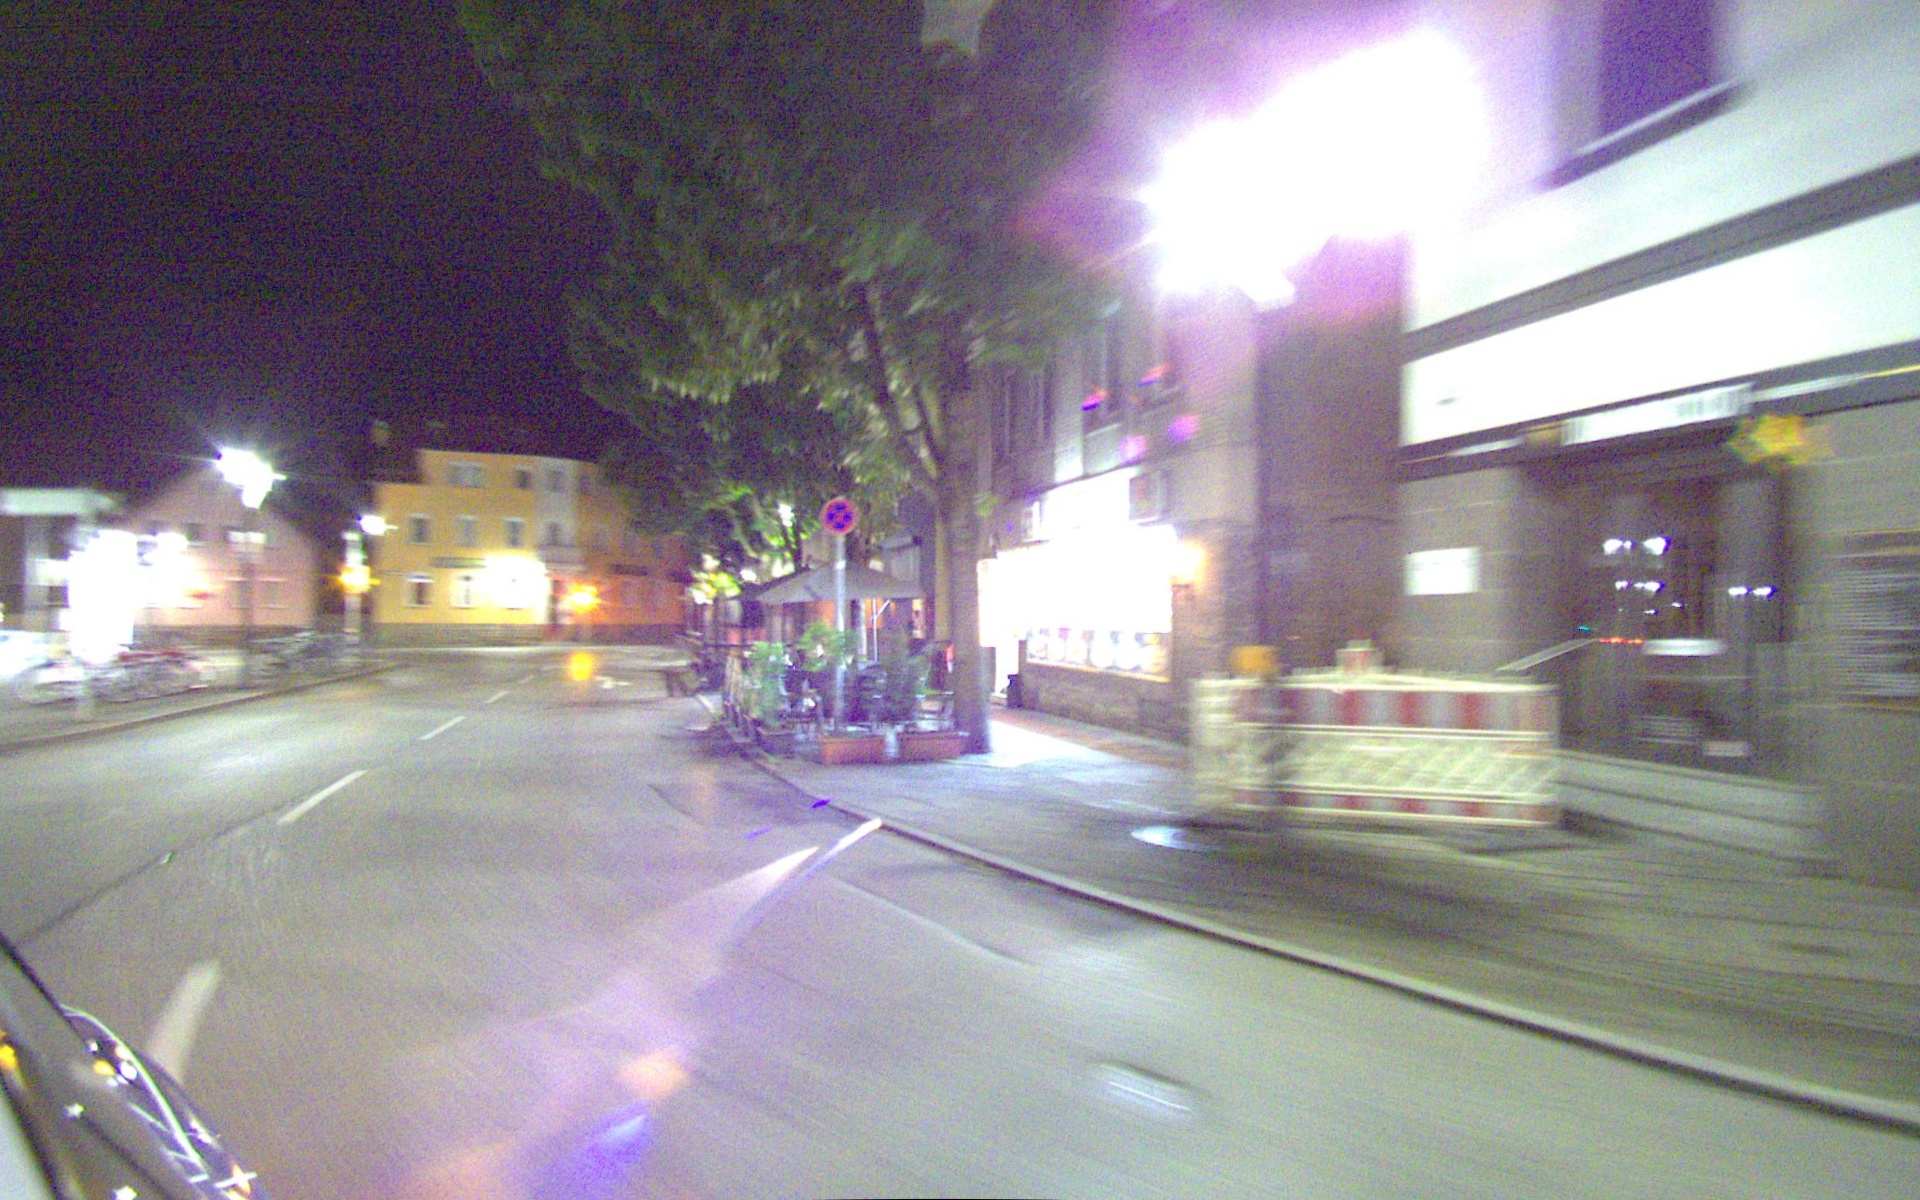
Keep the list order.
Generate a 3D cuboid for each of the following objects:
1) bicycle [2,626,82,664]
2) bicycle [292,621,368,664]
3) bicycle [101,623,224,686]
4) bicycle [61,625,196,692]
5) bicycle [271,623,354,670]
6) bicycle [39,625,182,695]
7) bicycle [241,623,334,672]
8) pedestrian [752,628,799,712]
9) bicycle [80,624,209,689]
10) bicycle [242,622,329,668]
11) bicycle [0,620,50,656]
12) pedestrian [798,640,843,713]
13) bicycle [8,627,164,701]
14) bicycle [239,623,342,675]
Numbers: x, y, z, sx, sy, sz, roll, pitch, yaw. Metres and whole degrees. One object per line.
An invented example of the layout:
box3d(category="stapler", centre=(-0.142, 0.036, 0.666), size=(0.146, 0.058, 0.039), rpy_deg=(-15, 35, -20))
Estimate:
box3d(category="bicycle", centre=(-29.038, 1.398, 32.049), size=(0.645, 1.136, 1.791), rpy_deg=(0, -1, 20))
box3d(category="bicycle", centre=(-17.448, 1.159, 28.063), size=(1.632, 1.149, 0.830), rpy_deg=(0, -1, -20))
box3d(category="bicycle", centre=(-15.195, 1.030, 19.313), size=(1.748, 1.160, 0.584), rpy_deg=(0, -1, -15))
box3d(category="bicycle", centre=(-14.761, 1.021, 18.006), size=(1.747, 1.160, 0.584), rpy_deg=(0, -1, -21))
box3d(category="bicycle", centre=(-16.129, 1.149, 25.247), size=(1.631, 1.143, 0.644), rpy_deg=(0, -1, -20))
box3d(category="bicycle", centre=(-14.473, 1.003, 17.286), size=(1.747, 1.160, 0.616), rpy_deg=(0, -1, -21))
box3d(category="bicycle", centre=(-16.114, 1.122, 24.293), size=(1.763, 1.143, 0.631), rpy_deg=(0, -1, -21))
box3d(category="pedestrian", centre=(-3.162, 1.173, 17.287), size=(0.666, 1.389, 0.578), rpy_deg=(1, -1, -23))
box3d(category="bicycle", centre=(-15.033, 1.022, 18.693), size=(1.748, 1.160, 0.584), rpy_deg=(0, -1, -14))
box3d(category="bicycle", centre=(-17.304, 1.134, 26.012), size=(1.744, 1.149, 0.689), rpy_deg=(0, -1, -20))
box3d(category="bicycle", centre=(-31.266, 1.242, 33.351), size=(0.645, 1.136, 1.791), rpy_deg=(0, -1, 20))
box3d(category="pedestrian", centre=(-2.323, 1.257, 16.849), size=(0.566, 1.173, 0.680), rpy_deg=(1, -1, -23))
box3d(category="bicycle", centre=(-14.239, 1.024, 16.548), size=(1.757, 1.160, 0.762), rpy_deg=(0, -1, -21))
box3d(category="bicycle", centre=(-15.358, 1.115, 23.266), size=(1.838, 1.143, 0.727), rpy_deg=(0, -1, -21))
